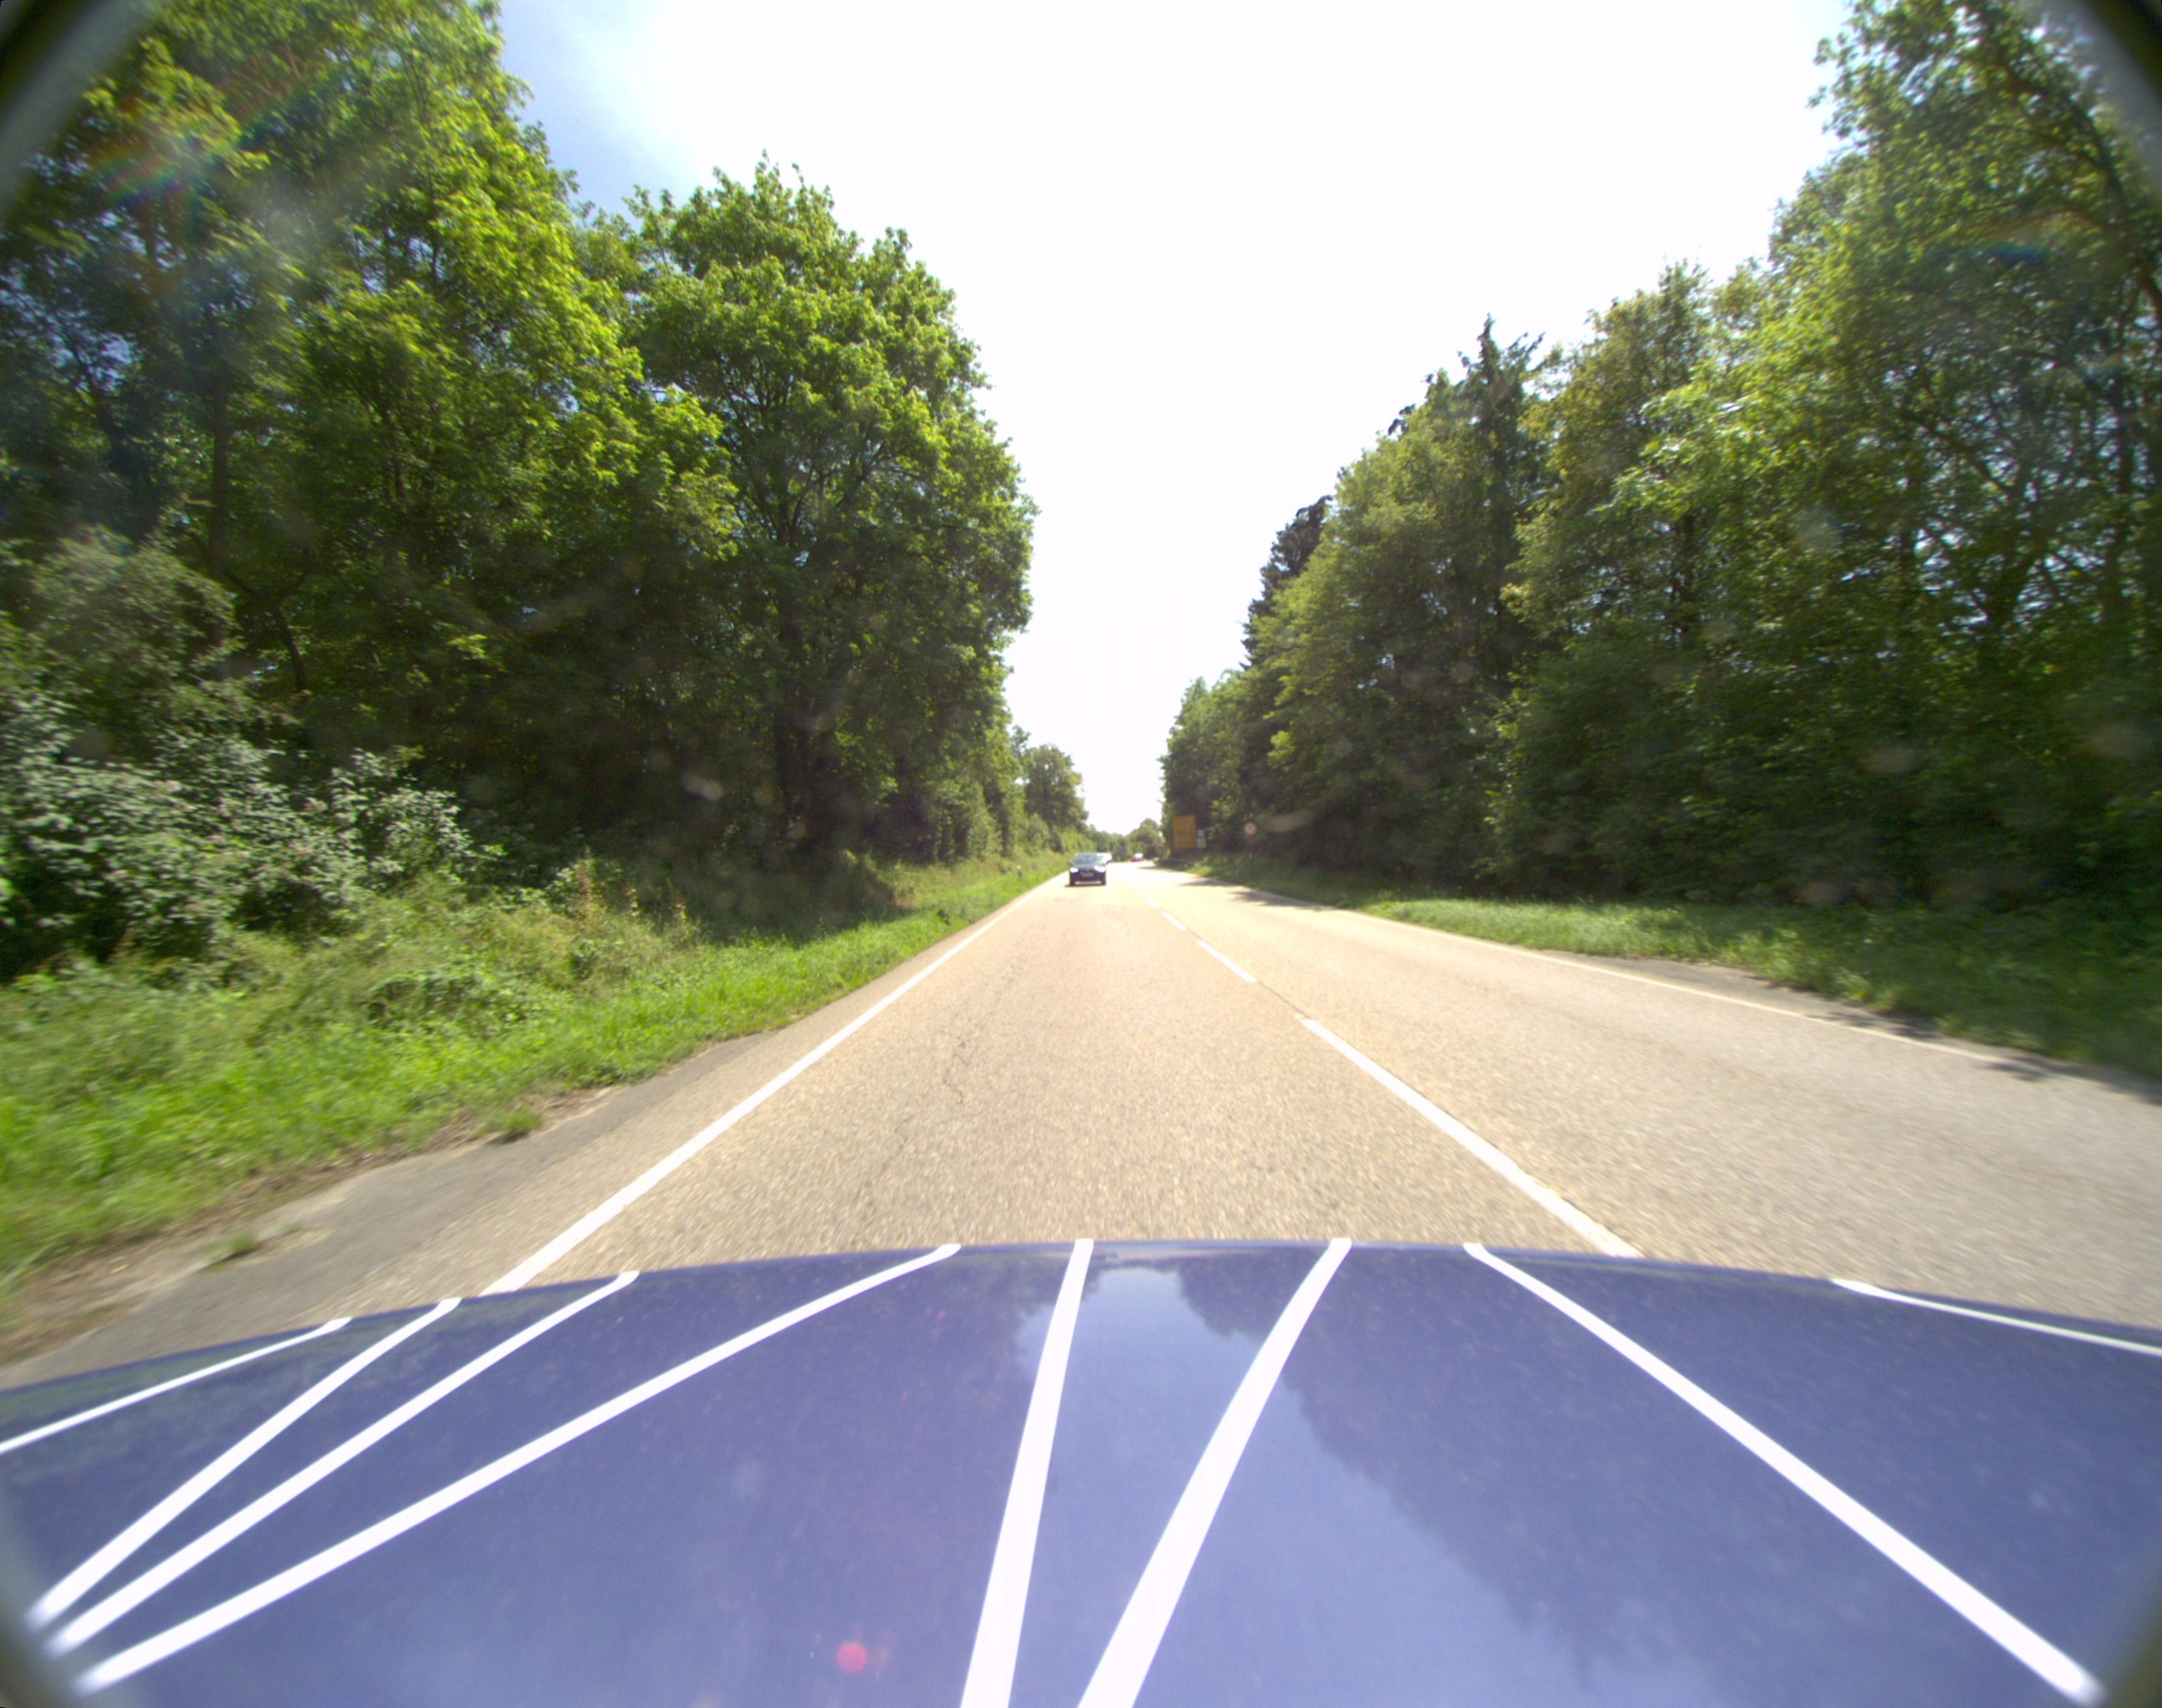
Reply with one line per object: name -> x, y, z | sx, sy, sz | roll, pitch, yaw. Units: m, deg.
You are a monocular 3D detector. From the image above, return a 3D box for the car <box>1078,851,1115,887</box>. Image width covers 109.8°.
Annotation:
car -> 0.734, 0.698, 36.736 | 1.626, 1.535, 4.000 | -3, 0, 1

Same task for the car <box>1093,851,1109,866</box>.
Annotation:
car -> 2.490, 0.598, 95.024 | 1.770, 1.673, 4.001 | -4, -1, 1

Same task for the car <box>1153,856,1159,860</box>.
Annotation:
car -> 23.111, 1.259, 235.408 | 1.810, 1.427, 3.873 | -1, 0, 5

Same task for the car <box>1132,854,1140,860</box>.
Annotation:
car -> 14.678, 0.881, 202.589 | 1.808, 1.444, 4.389 | -2, -1, 8

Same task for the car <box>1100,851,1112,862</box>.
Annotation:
car -> 4.659, 0.502, 143.276 | 1.998, 2.001, 4.001 | -4, -1, 1
